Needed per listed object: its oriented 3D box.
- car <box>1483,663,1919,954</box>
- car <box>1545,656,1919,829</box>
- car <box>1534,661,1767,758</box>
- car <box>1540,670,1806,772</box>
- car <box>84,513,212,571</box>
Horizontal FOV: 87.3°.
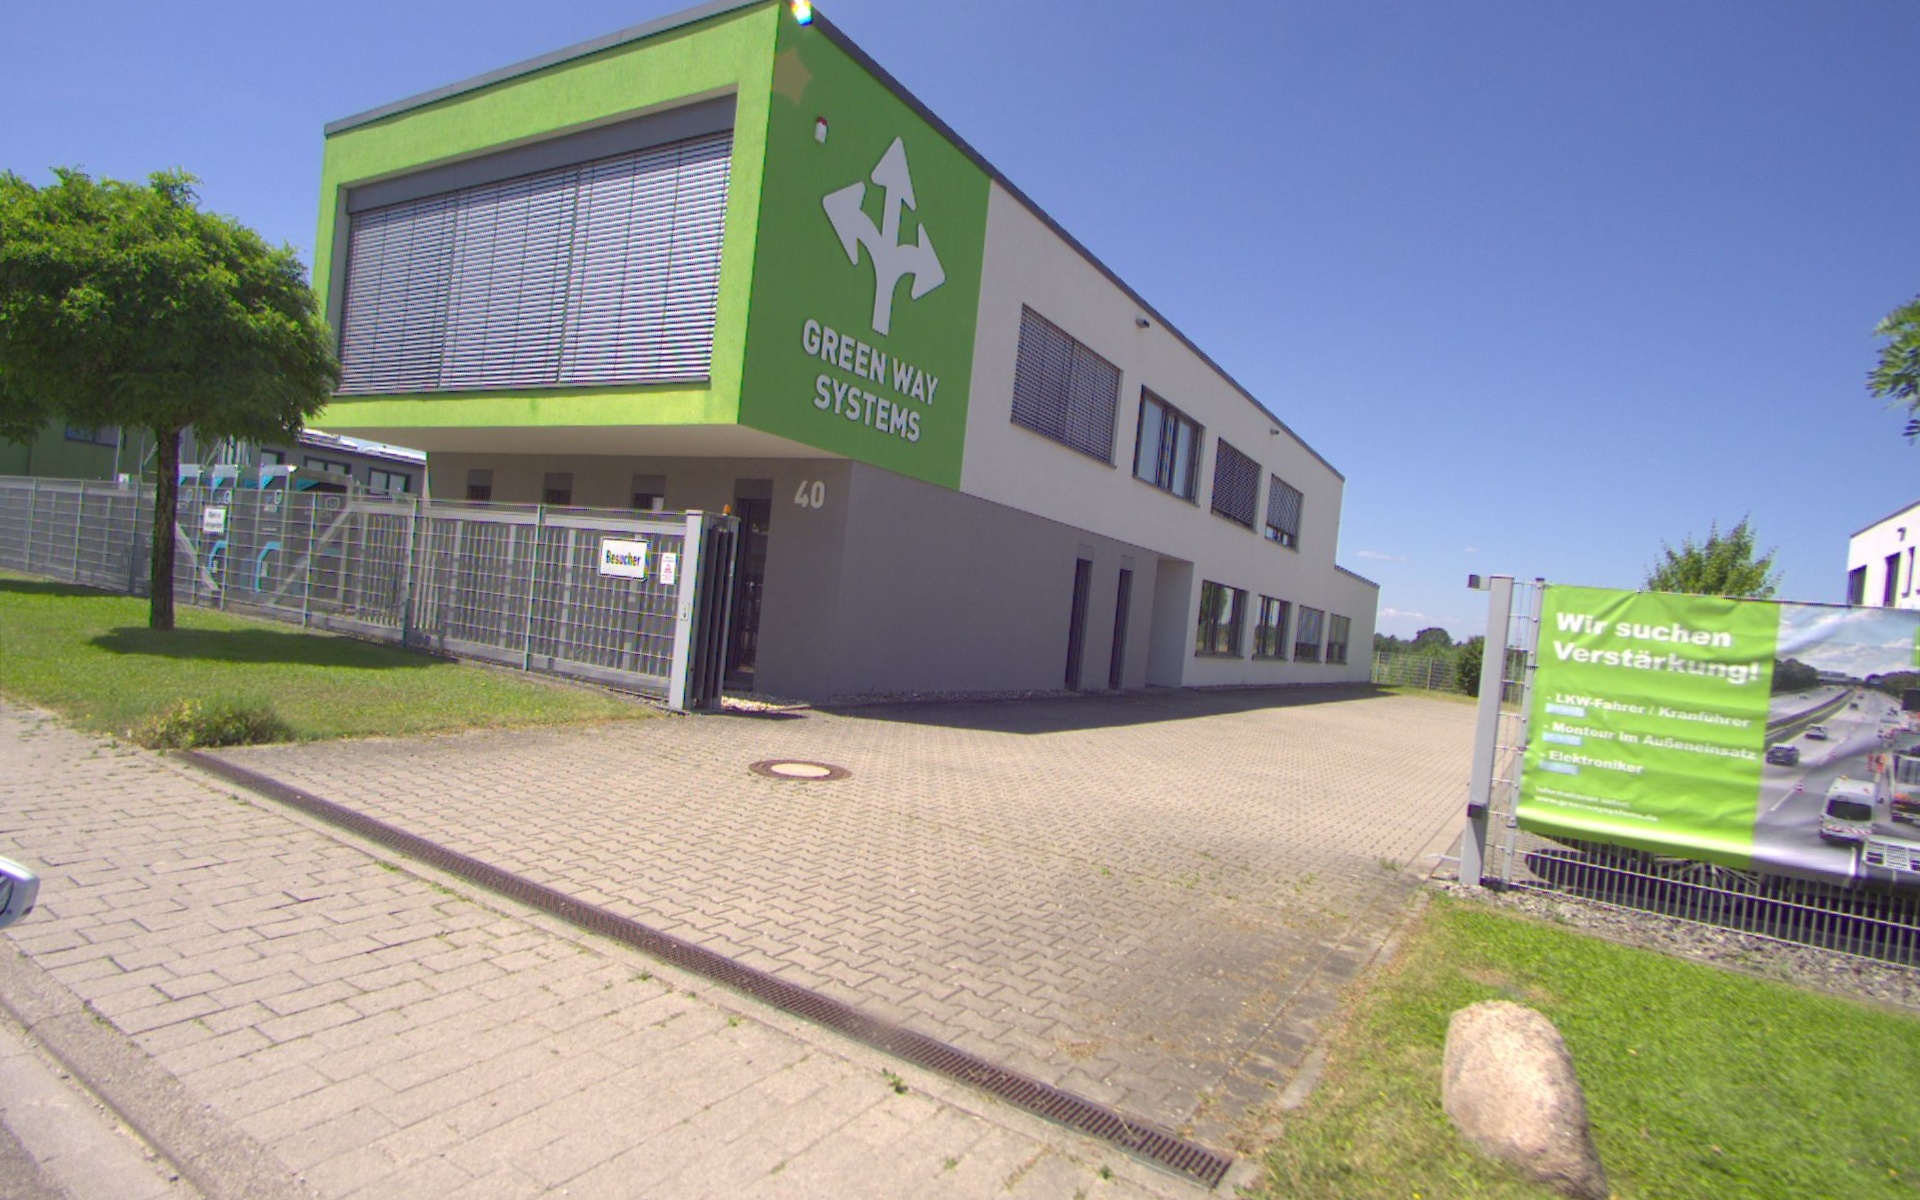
[{"bbox_3d":[5.645,1.289,6.345,3.989,1.415,1.740,4,-1,32],"label":"car"},{"bbox_3d":[9.962,1.731,13.041,3.989,1.656,1.740,4,-1,32],"label":"car"},{"bbox_3d":[15.032,2.346,22.177,3.989,1.624,1.740,4,-1,32],"label":"car"},{"bbox_3d":[13.637,2.263,19.553,3.989,1.448,1.740,4,-1,32],"label":"car"},{"bbox_3d":[-27.943,-2.002,34.578,4.536,1.456,1.995,6,0,32],"label":"car"}]
